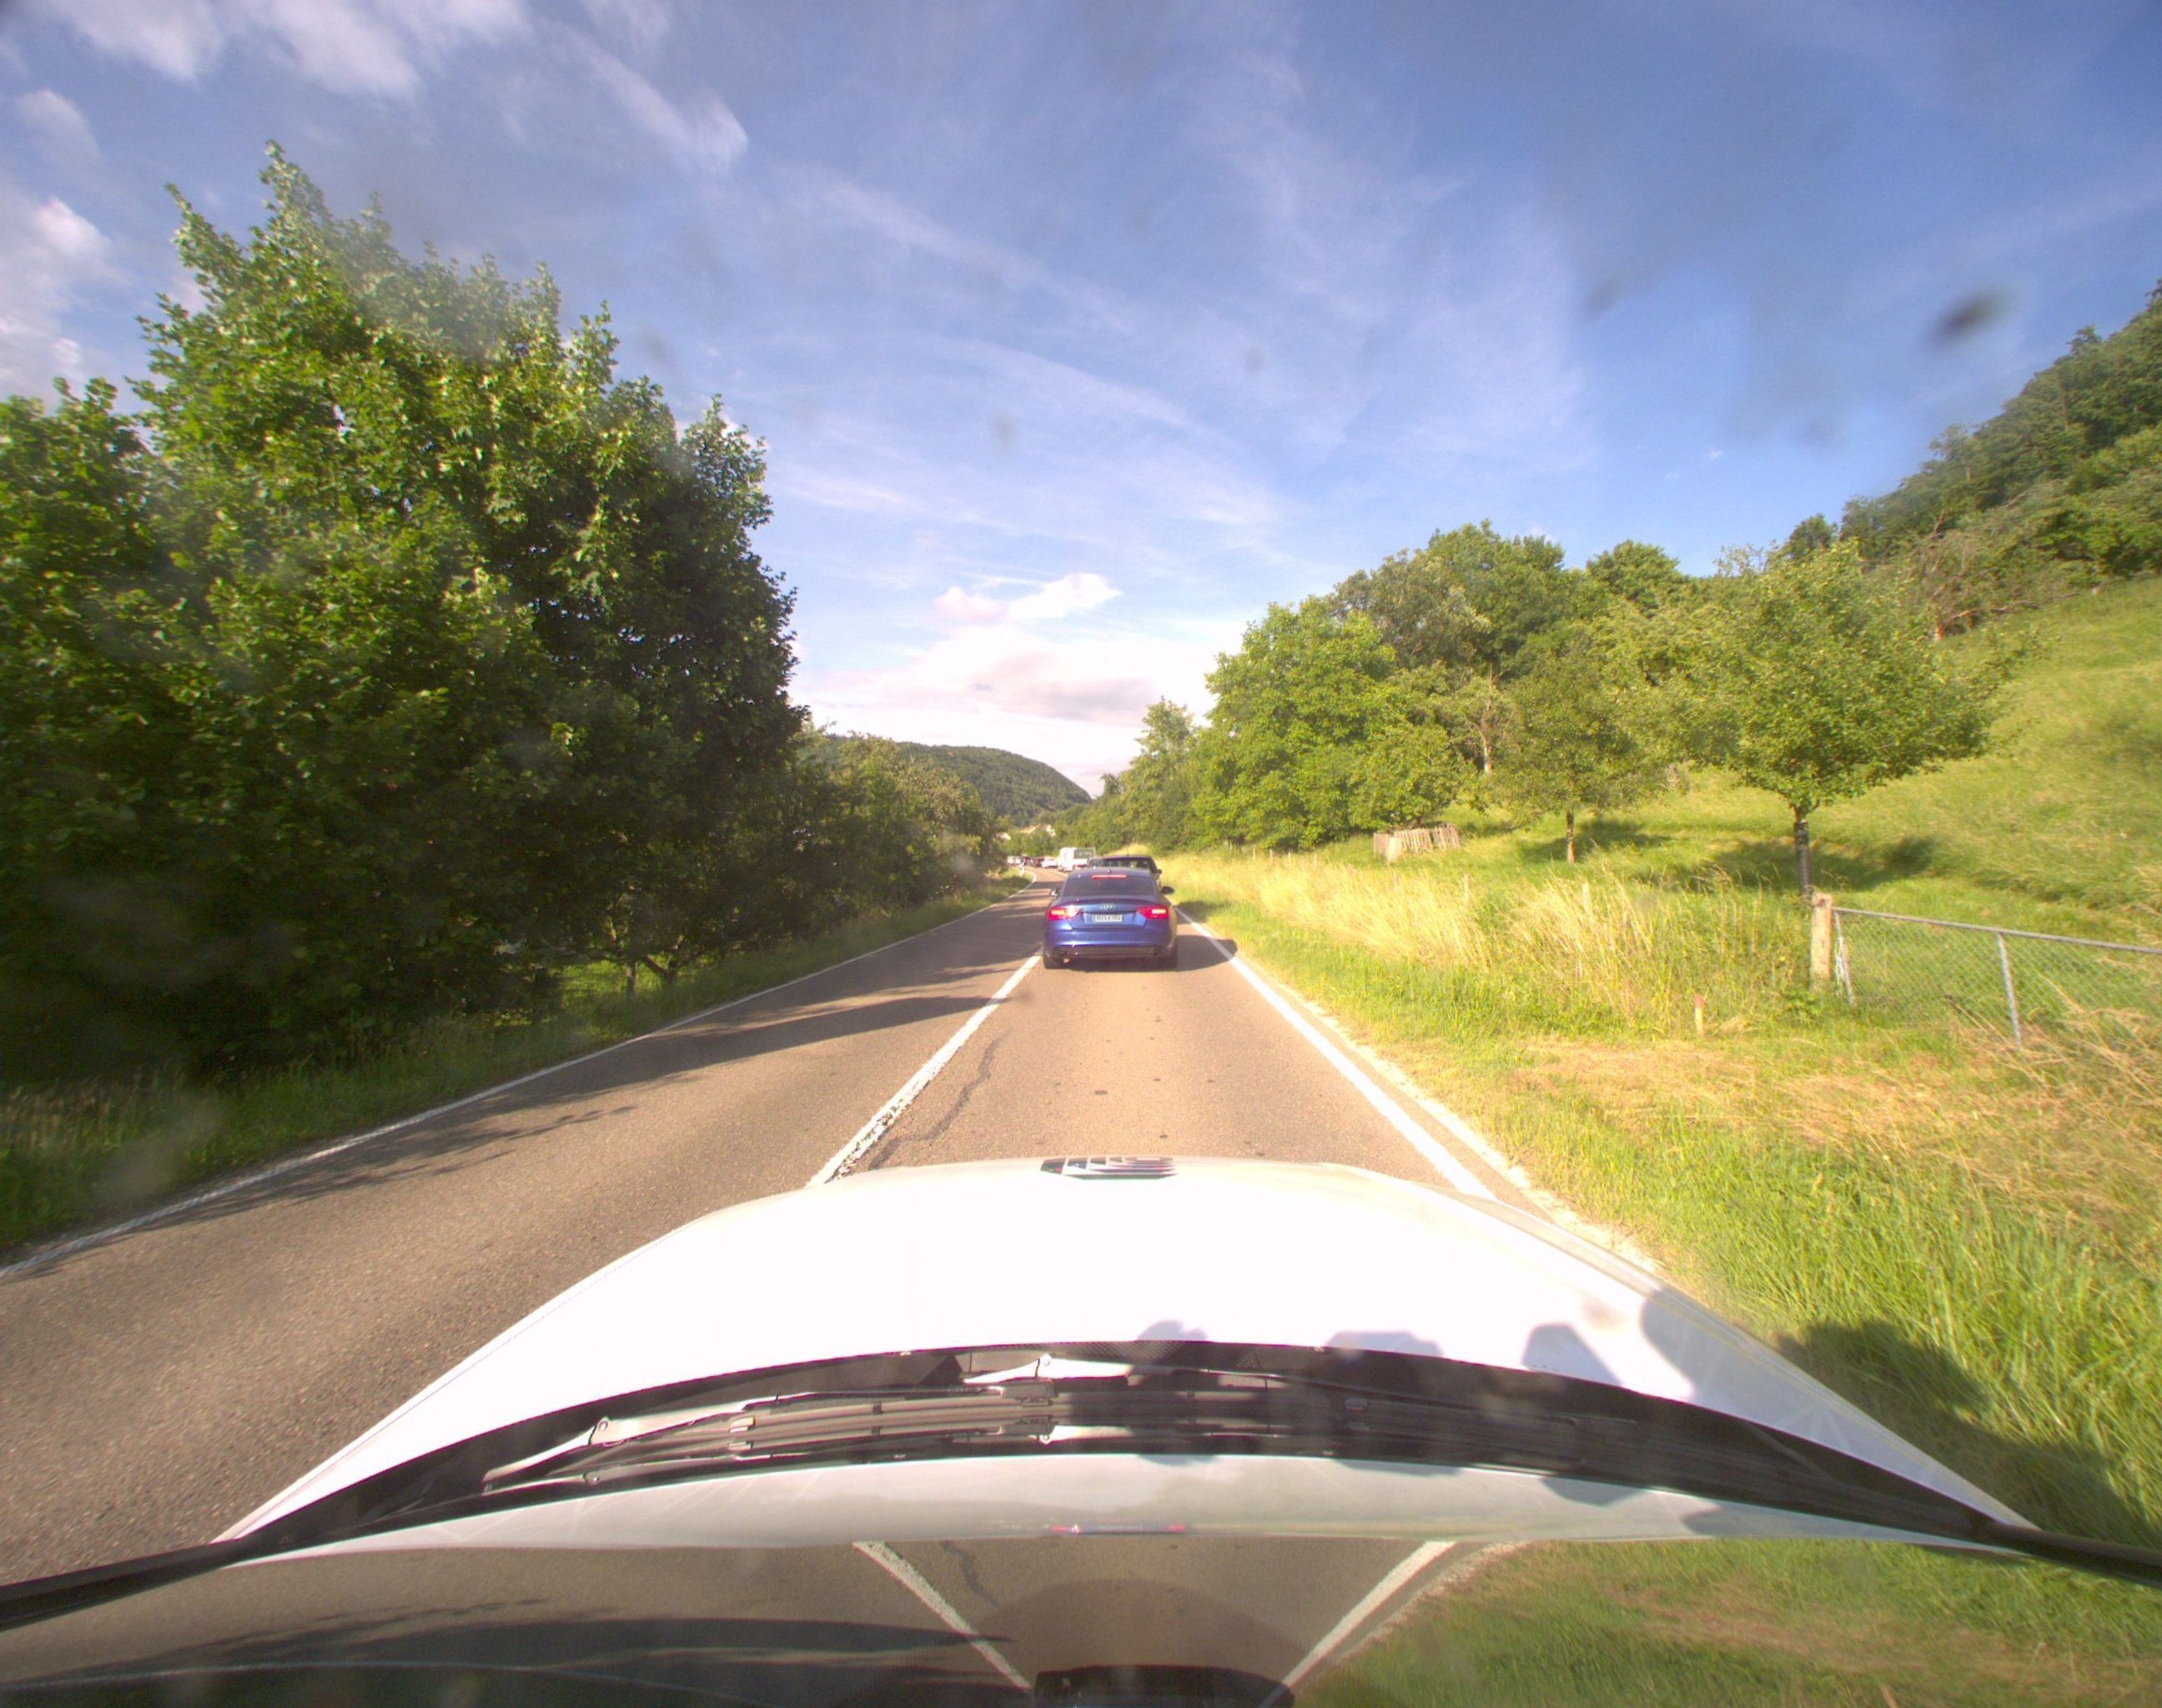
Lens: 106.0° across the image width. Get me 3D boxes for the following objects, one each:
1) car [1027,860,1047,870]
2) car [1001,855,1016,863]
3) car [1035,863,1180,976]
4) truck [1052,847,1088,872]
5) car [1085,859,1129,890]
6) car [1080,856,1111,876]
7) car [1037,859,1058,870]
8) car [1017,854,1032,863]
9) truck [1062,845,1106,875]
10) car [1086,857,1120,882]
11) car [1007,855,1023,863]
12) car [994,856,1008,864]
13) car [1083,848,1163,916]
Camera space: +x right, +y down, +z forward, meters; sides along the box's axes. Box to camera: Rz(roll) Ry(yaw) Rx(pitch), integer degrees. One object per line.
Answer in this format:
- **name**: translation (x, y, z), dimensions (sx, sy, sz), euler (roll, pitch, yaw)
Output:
- **car**: translation (-6.483, 1.581, 119.249), dimensions (1.998, 1.482, 3.976), euler (0, -1, -17)
- **car**: translation (-13.966, 1.005, 156.485), dimensions (2.000, 1.482, 3.974), euler (0, -1, -19)
- **car**: translation (0.472, 0.841, 12.143), dimensions (1.786, 1.360, 4.004), euler (-1, 0, 4)
- **truck**: translation (-1.349, 0.657, 92.048), dimensions (2.862, 2.665, 10.616), euler (0, 0, -8)
- **car**: translation (1.285, 0.953, 38.574), dimensions (1.985, 1.387, 4.003), euler (0, -1, 3)
- **car**: translation (1.066, 0.929, 62.096), dimensions (1.990, 1.482, 3.994), euler (0, -1, -4)
- **car**: translation (-4.603, 1.477, 111.835), dimensions (1.998, 1.482, 3.976), euler (0, -1, -17)
- **car**: translation (-9.749, 0.747, 140.443), dimensions (1.996, 1.482, 3.982), euler (0, -1, -13)
- **truck**: translation (0.161, 0.554, 77.793), dimensions (2.862, 2.665, 10.365), euler (0, 0, -8)
- **car**: translation (1.420, 0.937, 50.871), dimensions (1.985, 1.482, 4.003), euler (0, -1, 3)
- **car**: translation (-12.164, 0.884, 149.137), dimensions (2.000, 1.482, 3.974), euler (0, -1, -19)
- **car**: translation (-16.682, 1.231, 169.068), dimensions (2.000, 1.482, 3.974), euler (0, -1, -19)
- **car**: translation (1.165, 0.740, 22.497), dimensions (1.985, 1.702, 4.003), euler (0, -1, 3)
